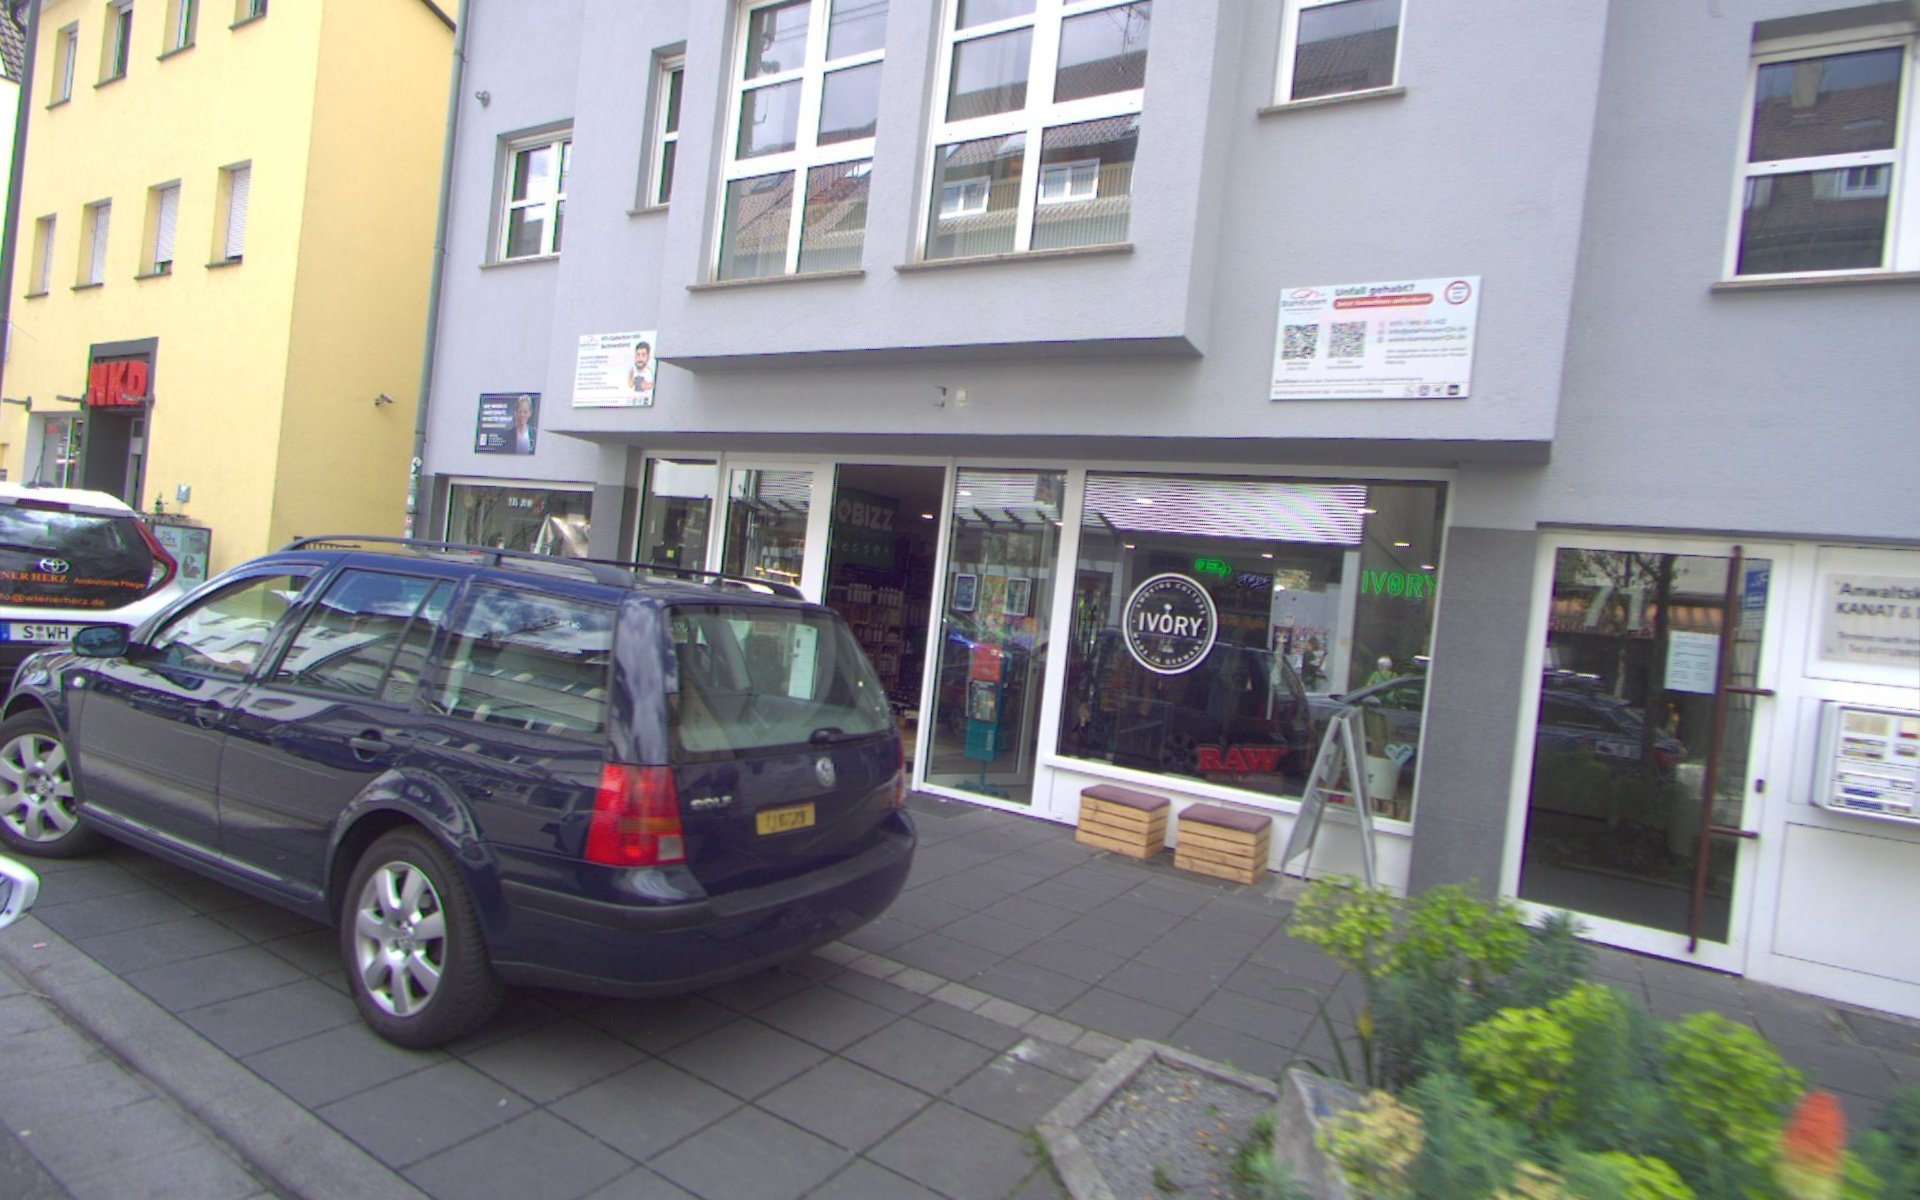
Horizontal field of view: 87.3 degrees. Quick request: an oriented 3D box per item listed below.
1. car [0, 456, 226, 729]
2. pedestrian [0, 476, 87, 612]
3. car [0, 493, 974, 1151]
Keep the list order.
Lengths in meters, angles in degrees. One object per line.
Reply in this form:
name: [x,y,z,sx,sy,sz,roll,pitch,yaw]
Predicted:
car: [-7.085,-0.172,7.056,3.693,1.592,1.693,6,-2,31]
pedestrian: [-11.517,-0.693,12.475,0.714,1.573,0.750,6,0,30]
car: [-2.252,0.453,4.176,4.221,1.459,1.691,6,2,28]
